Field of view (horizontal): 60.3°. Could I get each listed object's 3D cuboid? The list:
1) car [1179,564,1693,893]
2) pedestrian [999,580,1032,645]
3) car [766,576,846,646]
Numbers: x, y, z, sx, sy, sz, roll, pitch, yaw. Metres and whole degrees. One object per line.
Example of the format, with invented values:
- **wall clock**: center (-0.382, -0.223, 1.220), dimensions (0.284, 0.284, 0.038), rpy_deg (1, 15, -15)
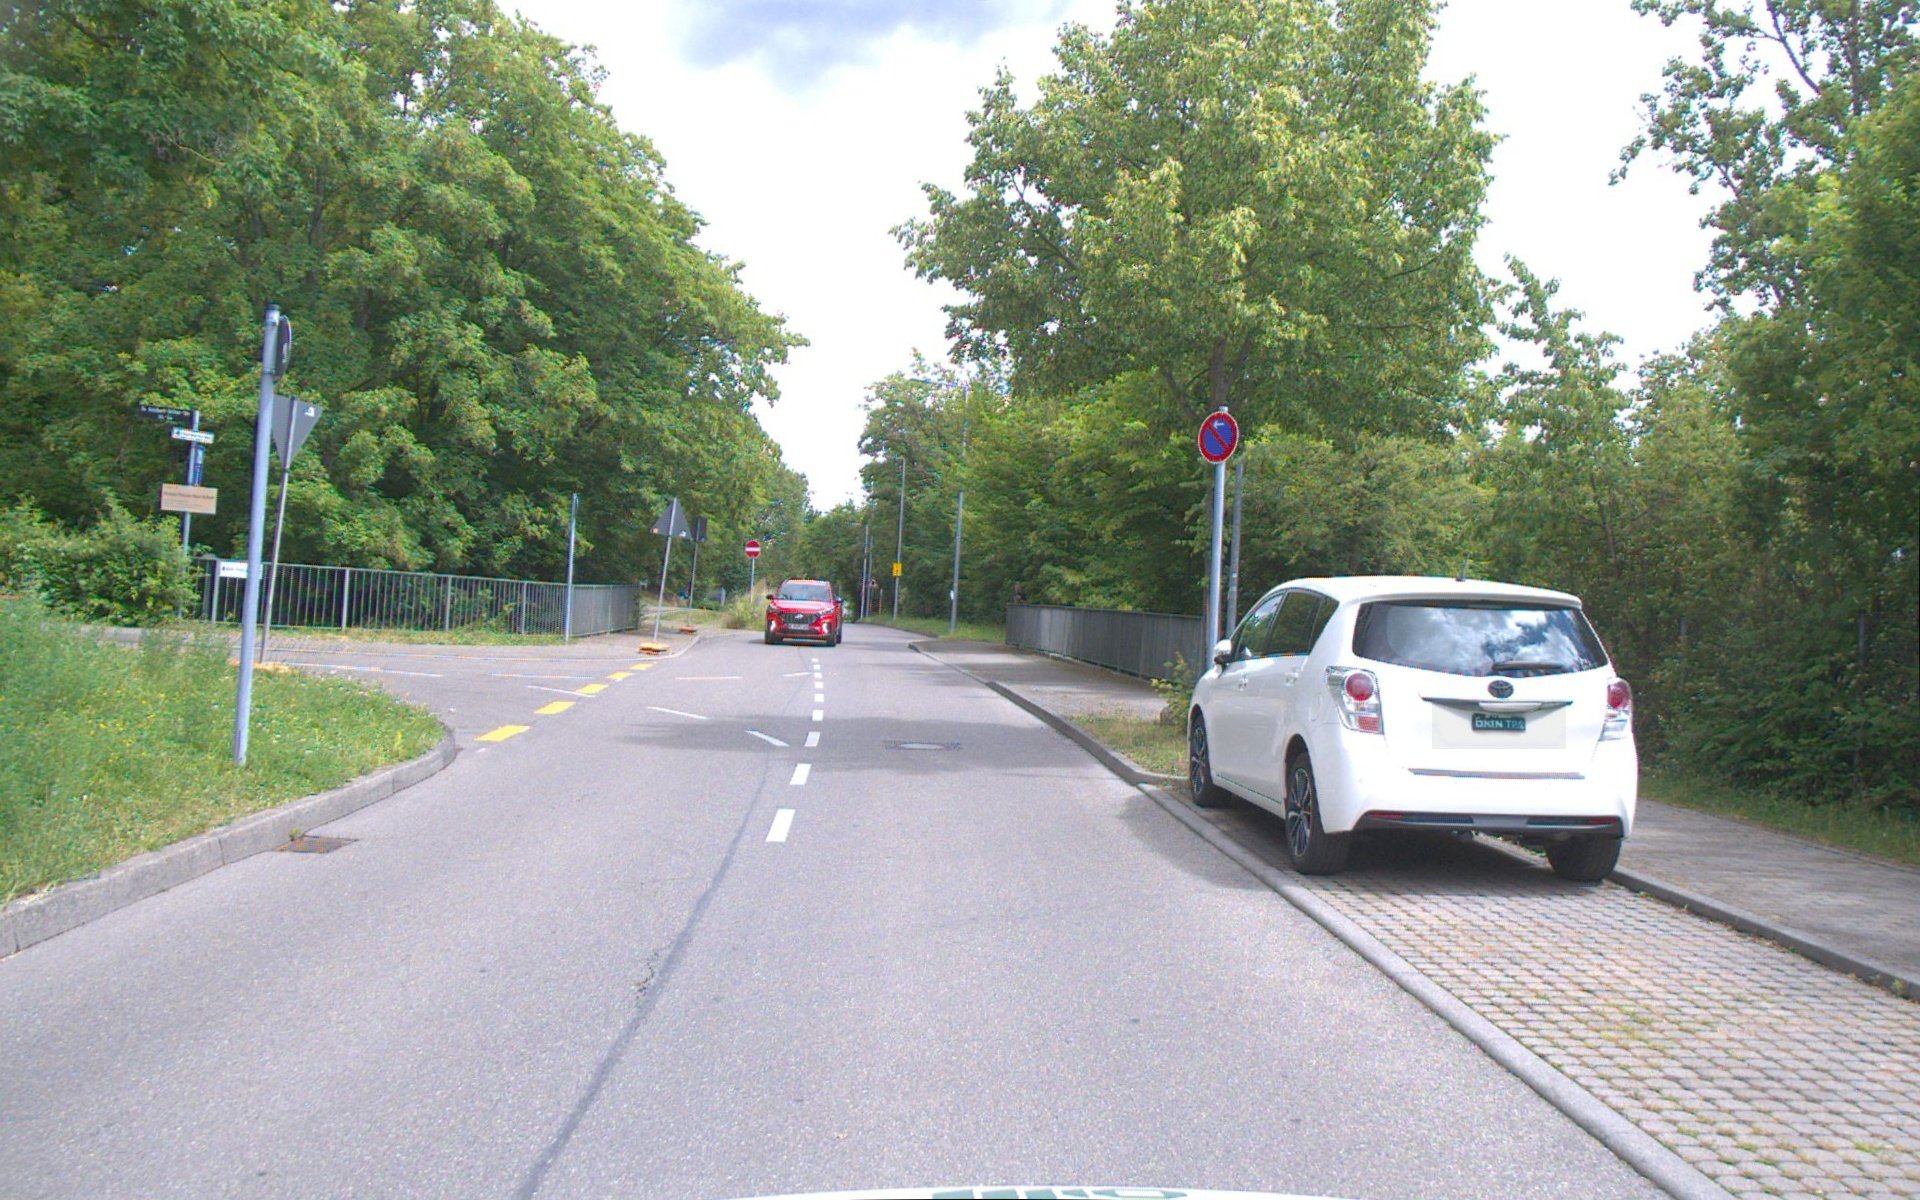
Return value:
- **car**: center (2.692, 0.636, 10.499), dimensions (1.769, 1.628, 4.369), rpy_deg (1, 0, -3)
- **pedestrian**: center (1.600, 0.354, 47.400), dimensions (0.582, 1.814, 0.673), rpy_deg (4, -2, -36)
- **car**: center (-4.020, 0.253, 43.695), dimensions (1.806, 1.687, 4.219), rpy_deg (2, 0, -2)
